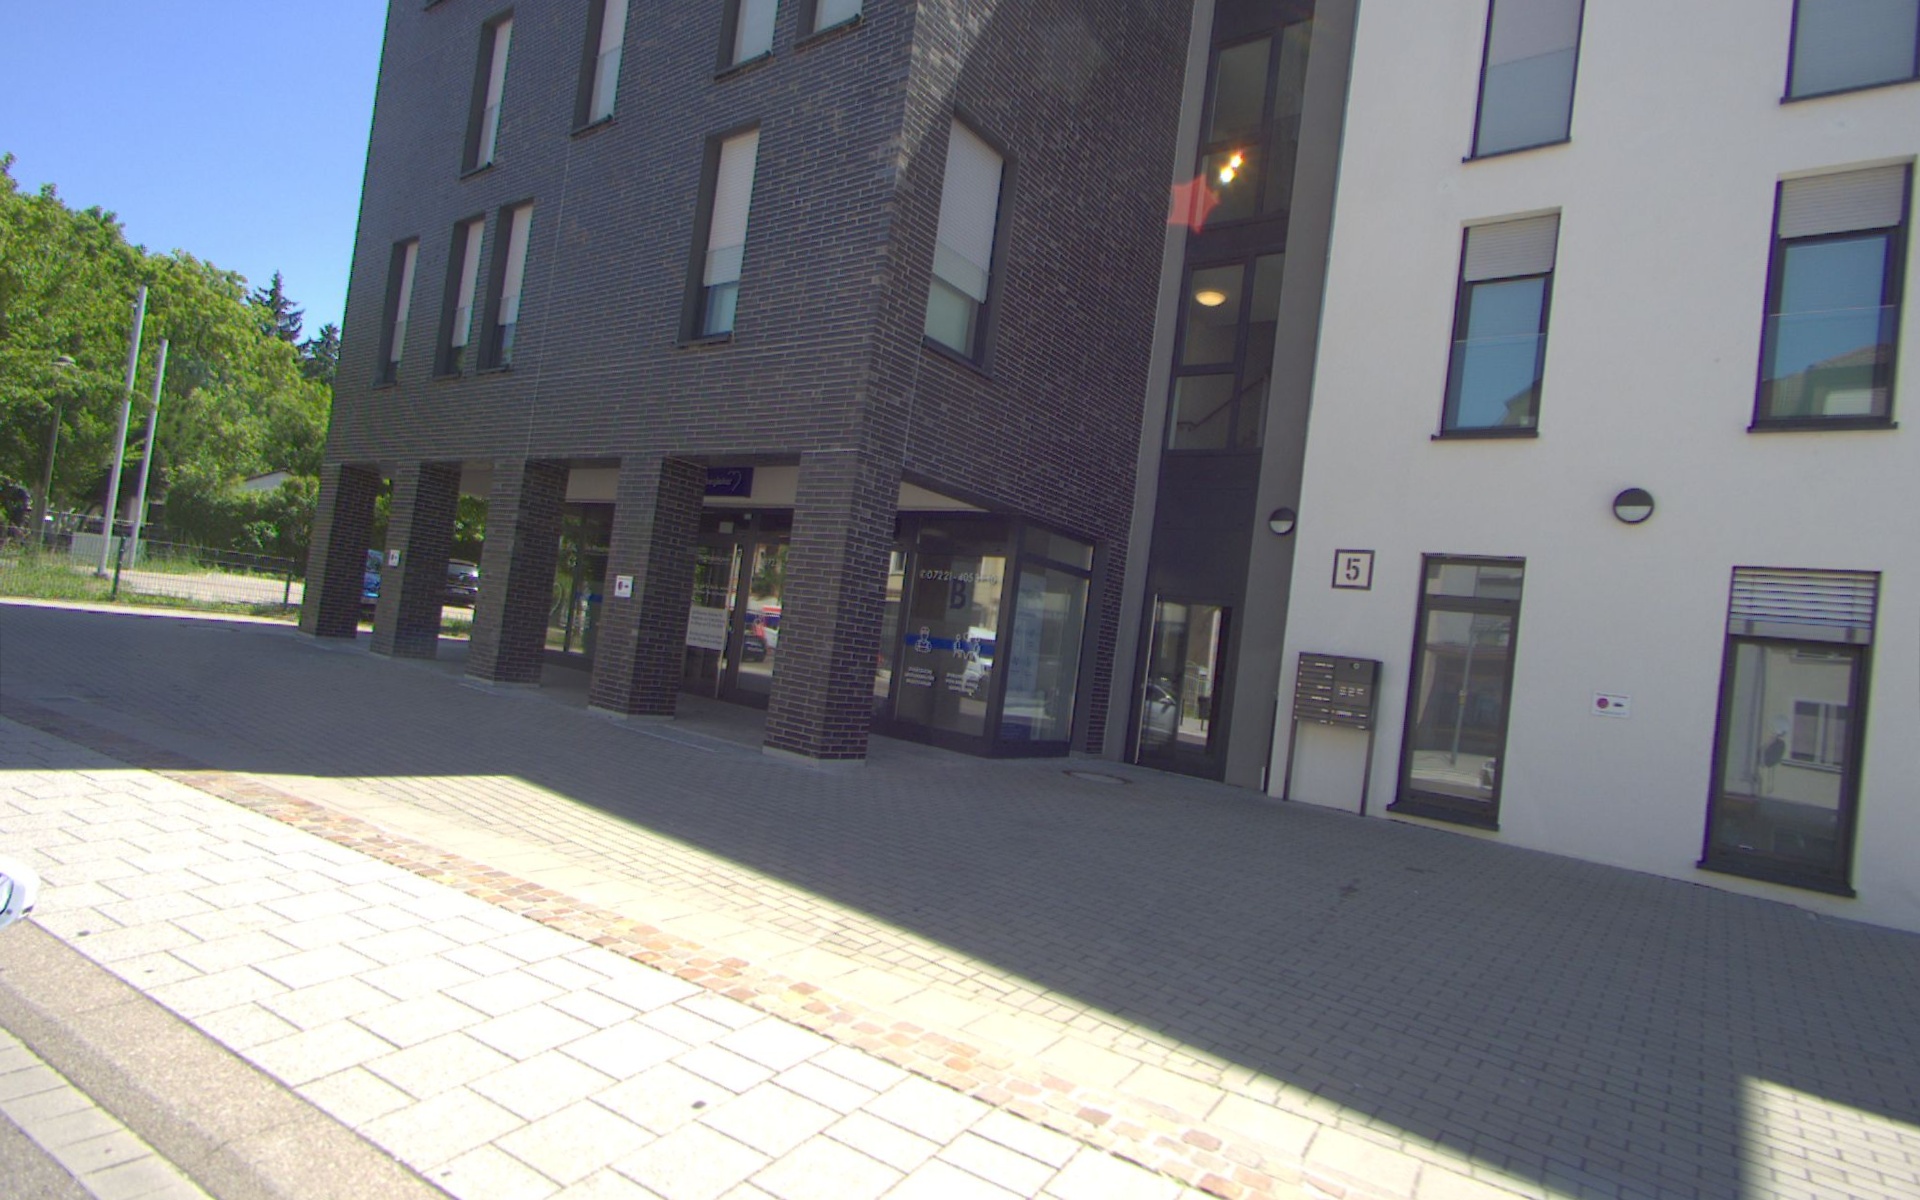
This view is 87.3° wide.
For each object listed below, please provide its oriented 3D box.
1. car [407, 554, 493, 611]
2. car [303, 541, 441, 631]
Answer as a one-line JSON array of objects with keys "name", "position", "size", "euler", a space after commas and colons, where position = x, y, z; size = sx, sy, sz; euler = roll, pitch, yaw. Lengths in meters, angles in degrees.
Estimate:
[{"name": "car", "position": [-16.596, -0.598, 32.659], "size": [1.860, 1.458, 3.963], "euler": [8, -2, -35]}, {"name": "car", "position": [-12.595, -0.346, 21.432], "size": [1.804, 1.457, 4.128], "euler": [9, -2, -39]}]
